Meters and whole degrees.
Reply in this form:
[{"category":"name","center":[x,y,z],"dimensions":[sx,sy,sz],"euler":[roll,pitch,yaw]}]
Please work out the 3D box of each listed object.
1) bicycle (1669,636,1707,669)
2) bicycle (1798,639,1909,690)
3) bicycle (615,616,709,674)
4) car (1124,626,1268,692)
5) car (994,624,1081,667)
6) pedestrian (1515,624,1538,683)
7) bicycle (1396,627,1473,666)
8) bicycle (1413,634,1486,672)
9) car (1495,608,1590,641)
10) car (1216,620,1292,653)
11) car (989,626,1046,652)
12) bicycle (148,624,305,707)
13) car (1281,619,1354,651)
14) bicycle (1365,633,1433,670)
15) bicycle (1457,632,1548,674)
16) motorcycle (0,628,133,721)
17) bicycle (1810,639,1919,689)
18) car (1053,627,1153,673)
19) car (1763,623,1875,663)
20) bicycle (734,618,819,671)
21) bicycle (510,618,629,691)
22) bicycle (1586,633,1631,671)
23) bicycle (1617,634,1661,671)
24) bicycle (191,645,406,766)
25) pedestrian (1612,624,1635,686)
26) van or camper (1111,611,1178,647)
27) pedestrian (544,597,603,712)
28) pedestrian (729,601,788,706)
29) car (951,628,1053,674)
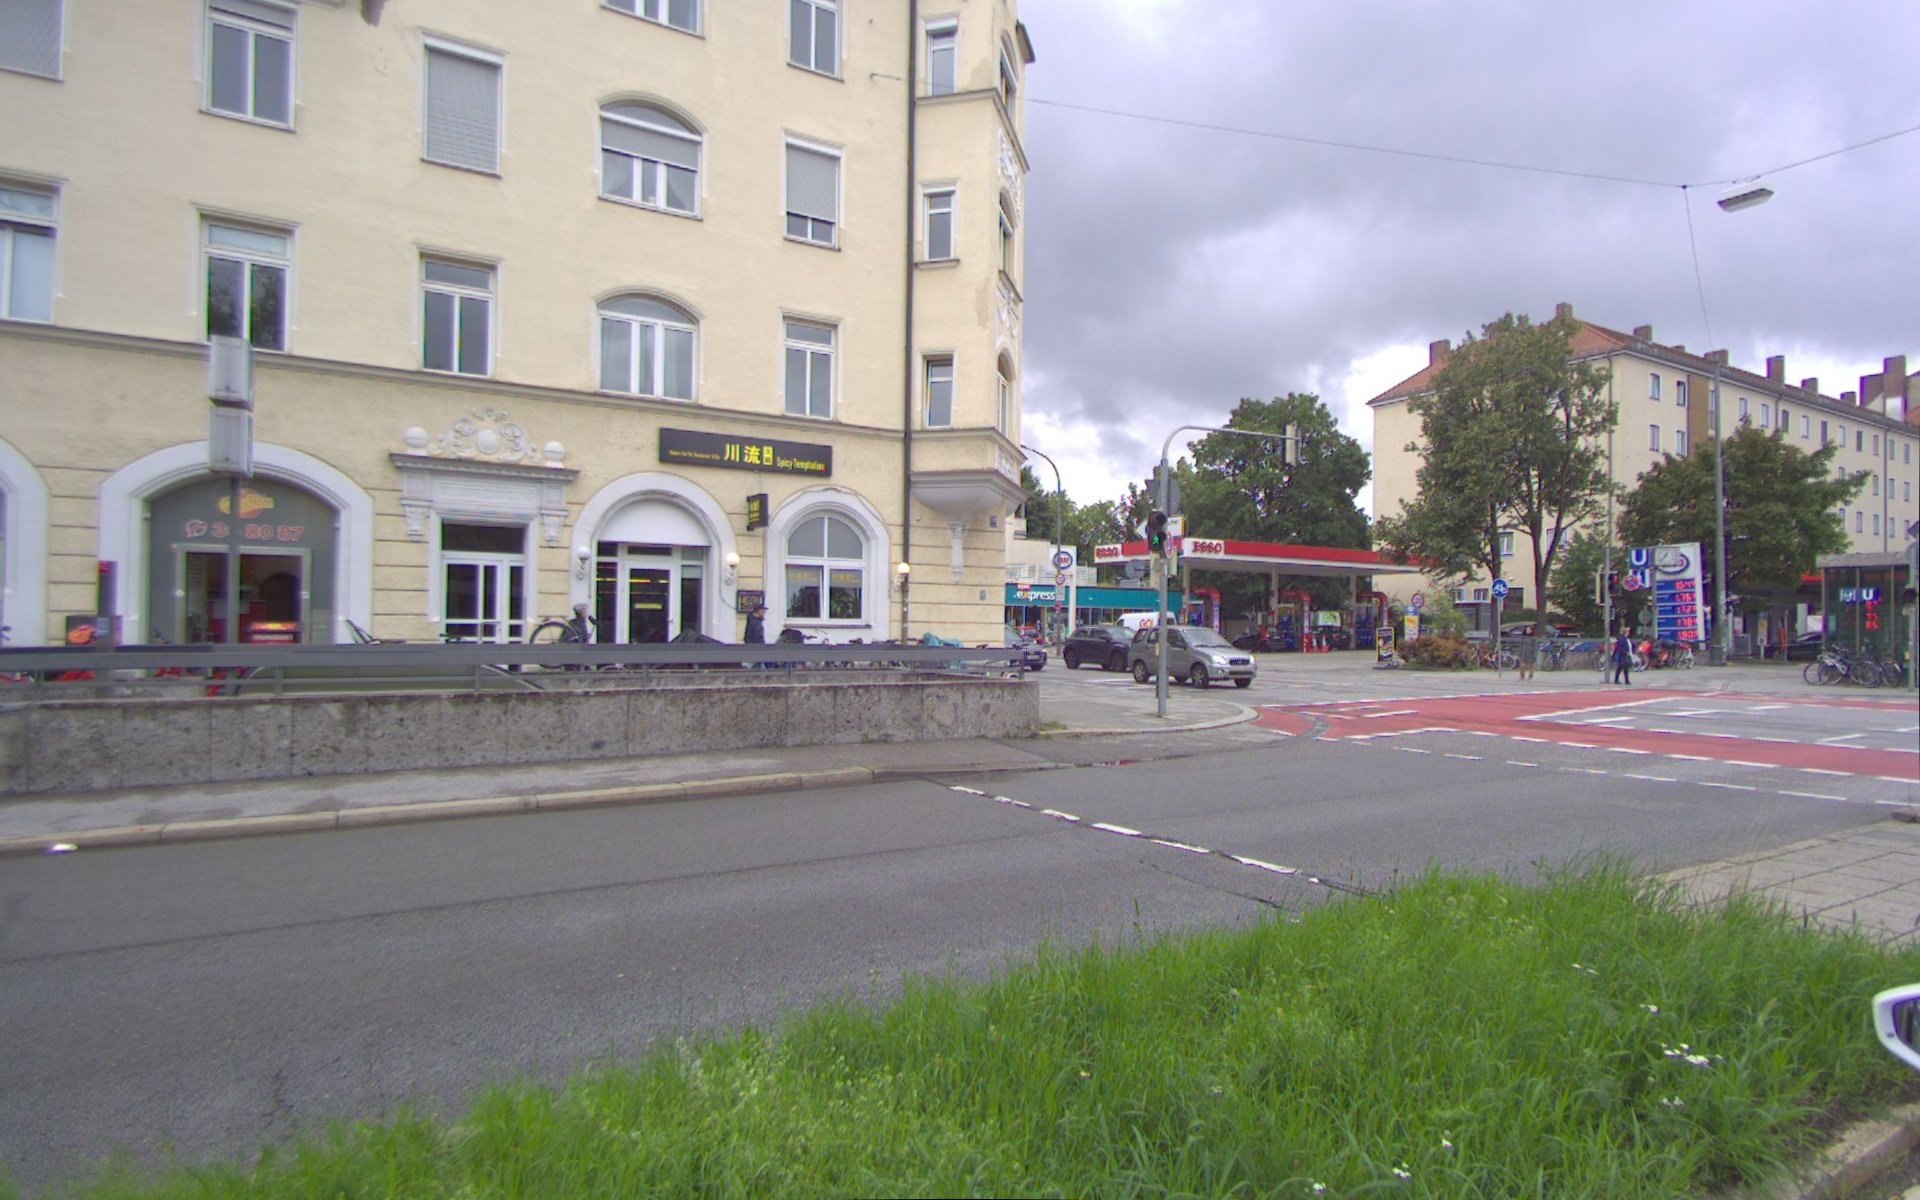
[{"category":"bicycle","center":[26.813,1.926,36.969],"dimensions":[1.947,1.160,0.603],"euler":[1,-1,-37]},{"category":"bicycle","center":[25.219,1.790,28.402],"dimensions":[0.695,1.322,2.262],"euler":[1,-1,-28]},{"category":"bicycle","center":[-5.248,0.780,17.712],"dimensions":[1.527,0.993,0.470],"euler":[1,-1,-30]},{"category":"car","center":[6.026,1.473,26.026],"dimensions":[1.644,1.537,3.603],"euler":[1,-1,-29]},{"category":"car","center":[2.934,1.720,38.395],"dimensions":[1.677,1.534,3.308],"euler":[1,-1,-32]},{"category":"pedestrian","center":[16.770,1.568,29.741],"dimensions":[0.581,1.717,0.576],"euler":[0,-1,29]},{"category":"bicycle","center":[16.987,1.649,36.006],"dimensions":[0.785,1.267,2.374],"euler":[2,0,-40]},{"category":"bicycle","center":[16.930,1.815,34.806],"dimensions":[0.760,1.252,2.161],"euler":[1,-1,-41]},{"category":"car","center":[29.890,1.264,51.626],"dimensions":[1.792,1.630,3.942],"euler":[1,-1,-25]},{"category":"car","center":[16.508,2.023,56.569],"dimensions":[1.836,1.808,3.968],"euler":[1,-1,-30]},{"category":"car","center":[3.717,2.490,65.412],"dimensions":[1.848,1.598,3.967],"euler":[1,-1,-31]},{"category":"bicycle","center":[-9.177,0.809,12.629],"dimensions":[1.527,0.993,0.470],"euler":[1,-1,-30]},{"category":"car","center":[21.561,2.097,60.720],"dimensions":[1.836,1.808,3.968],"euler":[1,-1,-30]},{"category":"bicycle","center":[15.914,1.851,36.448],"dimensions":[0.759,1.252,2.162],"euler":[1,-1,-39]},{"category":"bicycle","center":[18.469,1.787,34.240],"dimensions":[2.664,1.267,0.792],"euler":[2,0,30]},{"category":"motorcycle","center":[-12.164,0.975,13.388],"dimensions":[1.947,1.137,0.610],"euler":[1,-1,10]},{"category":"bicycle","center":[25.892,1.796,28.776],"dimensions":[0.685,1.322,2.275],"euler":[1,-1,-28]},{"category":"car","center":[4.827,1.673,34.349],"dimensions":[1.643,1.430,3.534],"euler":[1,-1,-27]},{"category":"car","center":[43.284,2.129,50.674],"dimensions":[1.860,1.862,3.965],"euler":[1,-1,-32]},{"category":"bicycle","center":[-3.495,0.844,19.176],"dimensions":[1.527,0.993,0.470],"euler":[1,-1,-30]},{"category":"bicycle","center":[-5.558,0.767,14.322],"dimensions":[1.527,0.993,0.470],"euler":[1,-1,-30]},{"category":"bicycle","center":[22.441,1.787,34.723],"dimensions":[2.167,1.252,0.603],"euler":[1,-1,-37]},{"category":"bicycle","center":[23.423,1.801,34.624],"dimensions":[2.167,1.252,0.603],"euler":[1,-1,-37]},{"category":"bicycle","center":[-6.719,1.033,10.270],"dimensions":[1.798,1.130,0.392],"euler":[1,-1,-39]},{"category":"pedestrian","center":[18.790,1.546,28.450],"dimensions":[0.527,1.717,0.575],"euler":[0,-1,34]},{"category":"van or camper","center":[12.552,1.967,68.694],"dimensions":[1.899,2.354,4.508],"euler":[1,-1,-34]},{"category":"pedestrian","center":[-5.906,0.820,15.348],"dimensions":[0.761,1.719,0.540],"euler":[1,-1,-30]},{"category":"pedestrian","center":[-3.391,0.896,16.883],"dimensions":[0.929,1.719,0.592],"euler":[1,-1,-14]},{"category":"car","center":[1.368,1.700,34.644],"dimensions":[1.643,1.430,4.299],"euler":[1,-1,-27]}]
